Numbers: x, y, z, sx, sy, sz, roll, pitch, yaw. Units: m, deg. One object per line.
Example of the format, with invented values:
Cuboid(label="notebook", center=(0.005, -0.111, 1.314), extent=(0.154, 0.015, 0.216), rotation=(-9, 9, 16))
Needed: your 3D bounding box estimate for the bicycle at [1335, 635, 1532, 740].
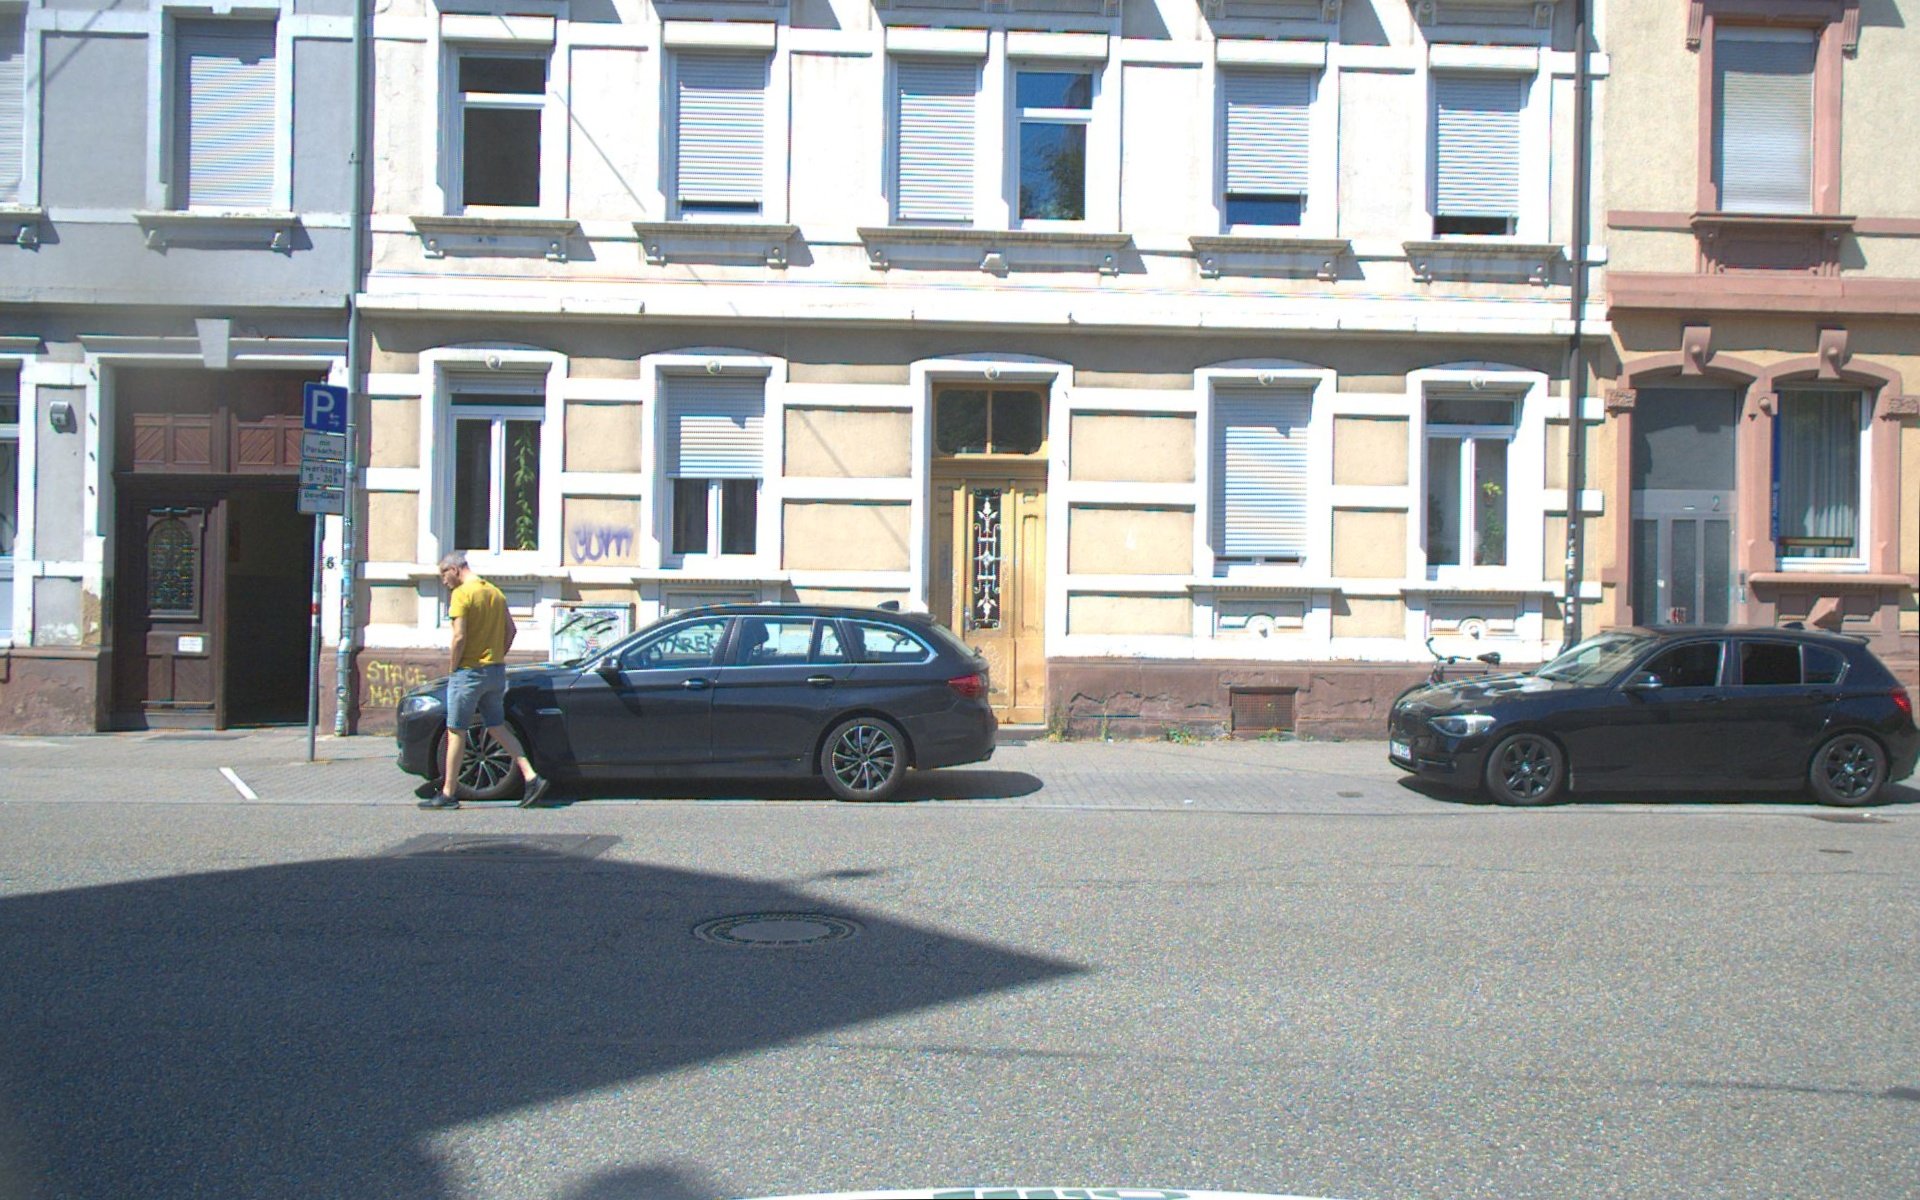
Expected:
Cuboid(label="bicycle", center=(4.964, 0.913, 17.383), extent=(1.965, 1.039, 0.424), rotation=(0, 2, -4))

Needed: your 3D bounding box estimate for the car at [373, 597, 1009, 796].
Cuboid(label="car", center=(-2.039, 0.727, 13.465), extent=(4.761, 1.462, 1.999), rotation=(0, 0, -2))

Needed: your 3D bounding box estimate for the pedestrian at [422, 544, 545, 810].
Cuboid(label="pedestrian", center=(-3.468, 0.545, 12.087), extent=(0.710, 1.886, 0.684), rotation=(0, -1, -2))

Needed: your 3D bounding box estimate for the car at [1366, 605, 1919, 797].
Cuboid(label="car", center=(5.730, 0.788, 13.842), extent=(4.207, 1.394, 1.807), rotation=(0, 2, -2))
